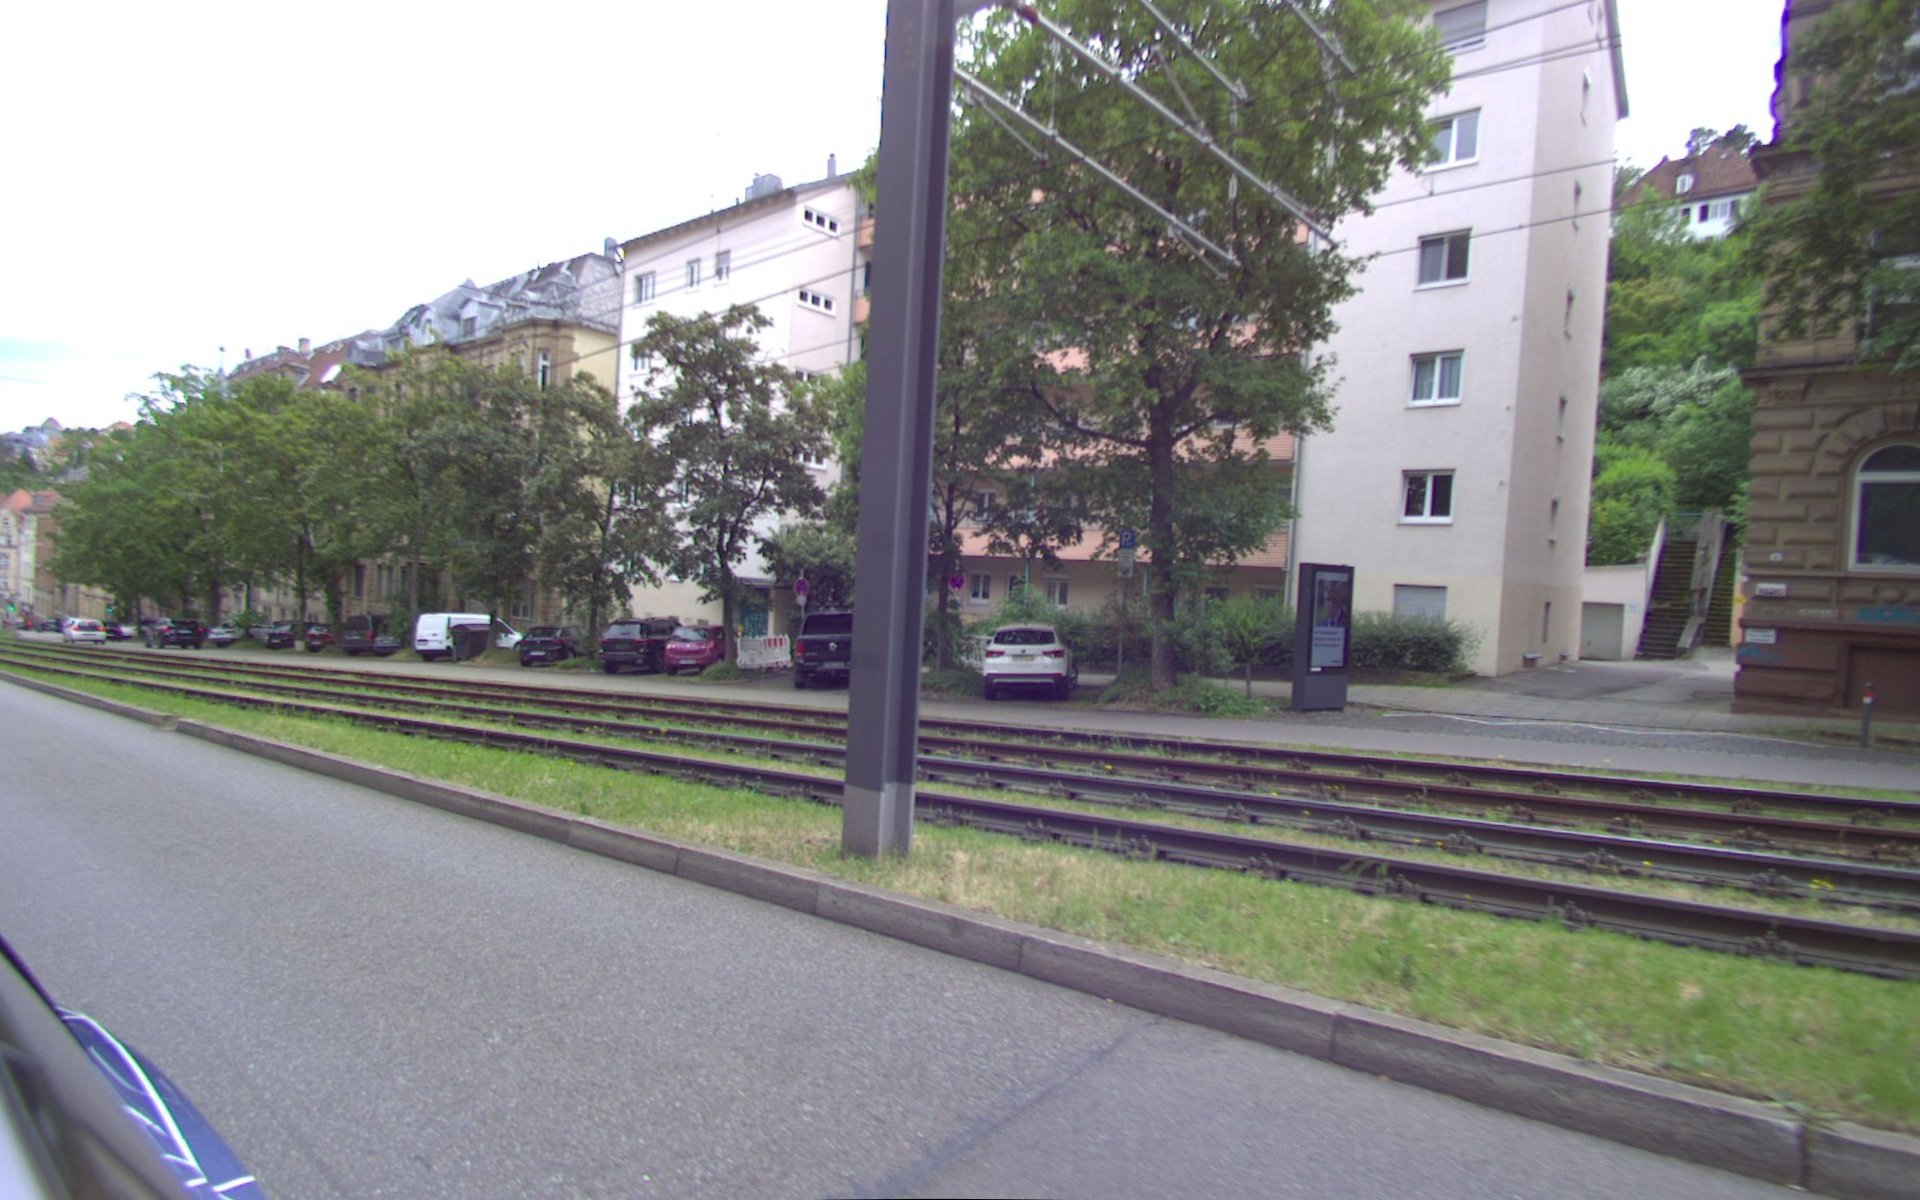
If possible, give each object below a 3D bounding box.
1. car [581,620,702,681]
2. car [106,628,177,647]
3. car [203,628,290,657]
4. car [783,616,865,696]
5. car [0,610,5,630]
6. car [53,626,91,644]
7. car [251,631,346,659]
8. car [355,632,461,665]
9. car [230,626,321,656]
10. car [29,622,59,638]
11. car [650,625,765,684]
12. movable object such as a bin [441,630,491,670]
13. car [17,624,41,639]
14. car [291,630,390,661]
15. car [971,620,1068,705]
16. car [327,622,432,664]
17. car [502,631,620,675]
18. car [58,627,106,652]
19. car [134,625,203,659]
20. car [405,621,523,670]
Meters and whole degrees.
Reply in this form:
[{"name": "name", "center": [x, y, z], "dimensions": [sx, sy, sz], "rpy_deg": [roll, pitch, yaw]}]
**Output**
[{"name": "car", "center": [-9.916, 1.538, 31.936], "dimensions": [1.913, 1.694, 4.597], "rpy_deg": [-1, 0, 7]}, {"name": "car", "center": [-61.910, 2.839, 76.639], "dimensions": [1.766, 1.433, 3.989], "rpy_deg": [0, -2, 9]}, {"name": "car", "center": [-41.378, 2.437, 58.776], "dimensions": [1.765, 1.481, 4.144], "rpy_deg": [1, 0, 8]}, {"name": "car", "center": [-3.442, 1.341, 26.048], "dimensions": [1.906, 1.811, 4.614], "rpy_deg": [-1, 0, -6]}, {"name": "car", "center": [-133.577, 2.705, 139.257], "dimensions": [6.514, 2.720, 2.367], "rpy_deg": [-1, -4, 41]}, {"name": "car", "center": [-74.769, 2.922, 85.212], "dimensions": [4.595, 1.421, 1.707], "rpy_deg": [-1, -4, 41]}, {"name": "car", "center": [-34.937, 2.360, 53.586], "dimensions": [1.851, 1.446, 4.177], "rpy_deg": [0, -2, 10]}, {"name": "car", "center": [-24.018, 2.088, 44.244], "dimensions": [1.851, 1.350, 4.177], "rpy_deg": [0, -2, 11]}, {"name": "car", "center": [-37.967, 2.274, 56.247], "dimensions": [1.851, 1.585, 4.179], "rpy_deg": [0, -2, 9]}, {"name": "car", "center": [-97.149, 3.177, 107.352], "dimensions": [4.240, 1.669, 1.762], "rpy_deg": [-1, -4, 41]}, {"name": "car", "center": [-7.632, 1.604, 31.072], "dimensions": [1.913, 1.560, 4.597], "rpy_deg": [-1, 0, 7]}, {"name": "movable object such as a bin", "center": [-18.123, 1.825, 37.138], "dimensions": [1.090, 1.411, 1.268], "rpy_deg": [-1, -1, 25]}, {"name": "car", "center": [-112.997, 3.817, 122.820], "dimensions": [4.471, 1.663, 1.859], "rpy_deg": [-2, -5, 44]}, {"name": "car", "center": [-30.586, 2.231, 50.103], "dimensions": [1.851, 1.446, 4.177], "rpy_deg": [0, -2, 11]}, {"name": "car", "center": [1.429, 1.297, 22.471], "dimensions": [1.913, 1.629, 4.598], "rpy_deg": [-1, 0, 6]}, {"name": "car", "center": [-26.265, 1.933, 45.945], "dimensions": [1.851, 1.781, 4.177], "rpy_deg": [0, -2, 11]}, {"name": "car", "center": [-14.049, 1.832, 35.939], "dimensions": [1.913, 1.355, 4.597], "rpy_deg": [-1, 0, 7]}, {"name": "car", "center": [-51.969, 2.350, 59.903], "dimensions": [3.409, 1.446, 1.572], "rpy_deg": [-2, -4, 40]}, {"name": "car", "center": [-41.722, 2.207, 53.323], "dimensions": [4.603, 1.663, 1.897], "rpy_deg": [-2, -4, 40]}, {"name": "car", "center": [-19.672, 1.792, 40.345], "dimensions": [1.856, 1.850, 4.166], "rpy_deg": [0, -2, 18]}]
